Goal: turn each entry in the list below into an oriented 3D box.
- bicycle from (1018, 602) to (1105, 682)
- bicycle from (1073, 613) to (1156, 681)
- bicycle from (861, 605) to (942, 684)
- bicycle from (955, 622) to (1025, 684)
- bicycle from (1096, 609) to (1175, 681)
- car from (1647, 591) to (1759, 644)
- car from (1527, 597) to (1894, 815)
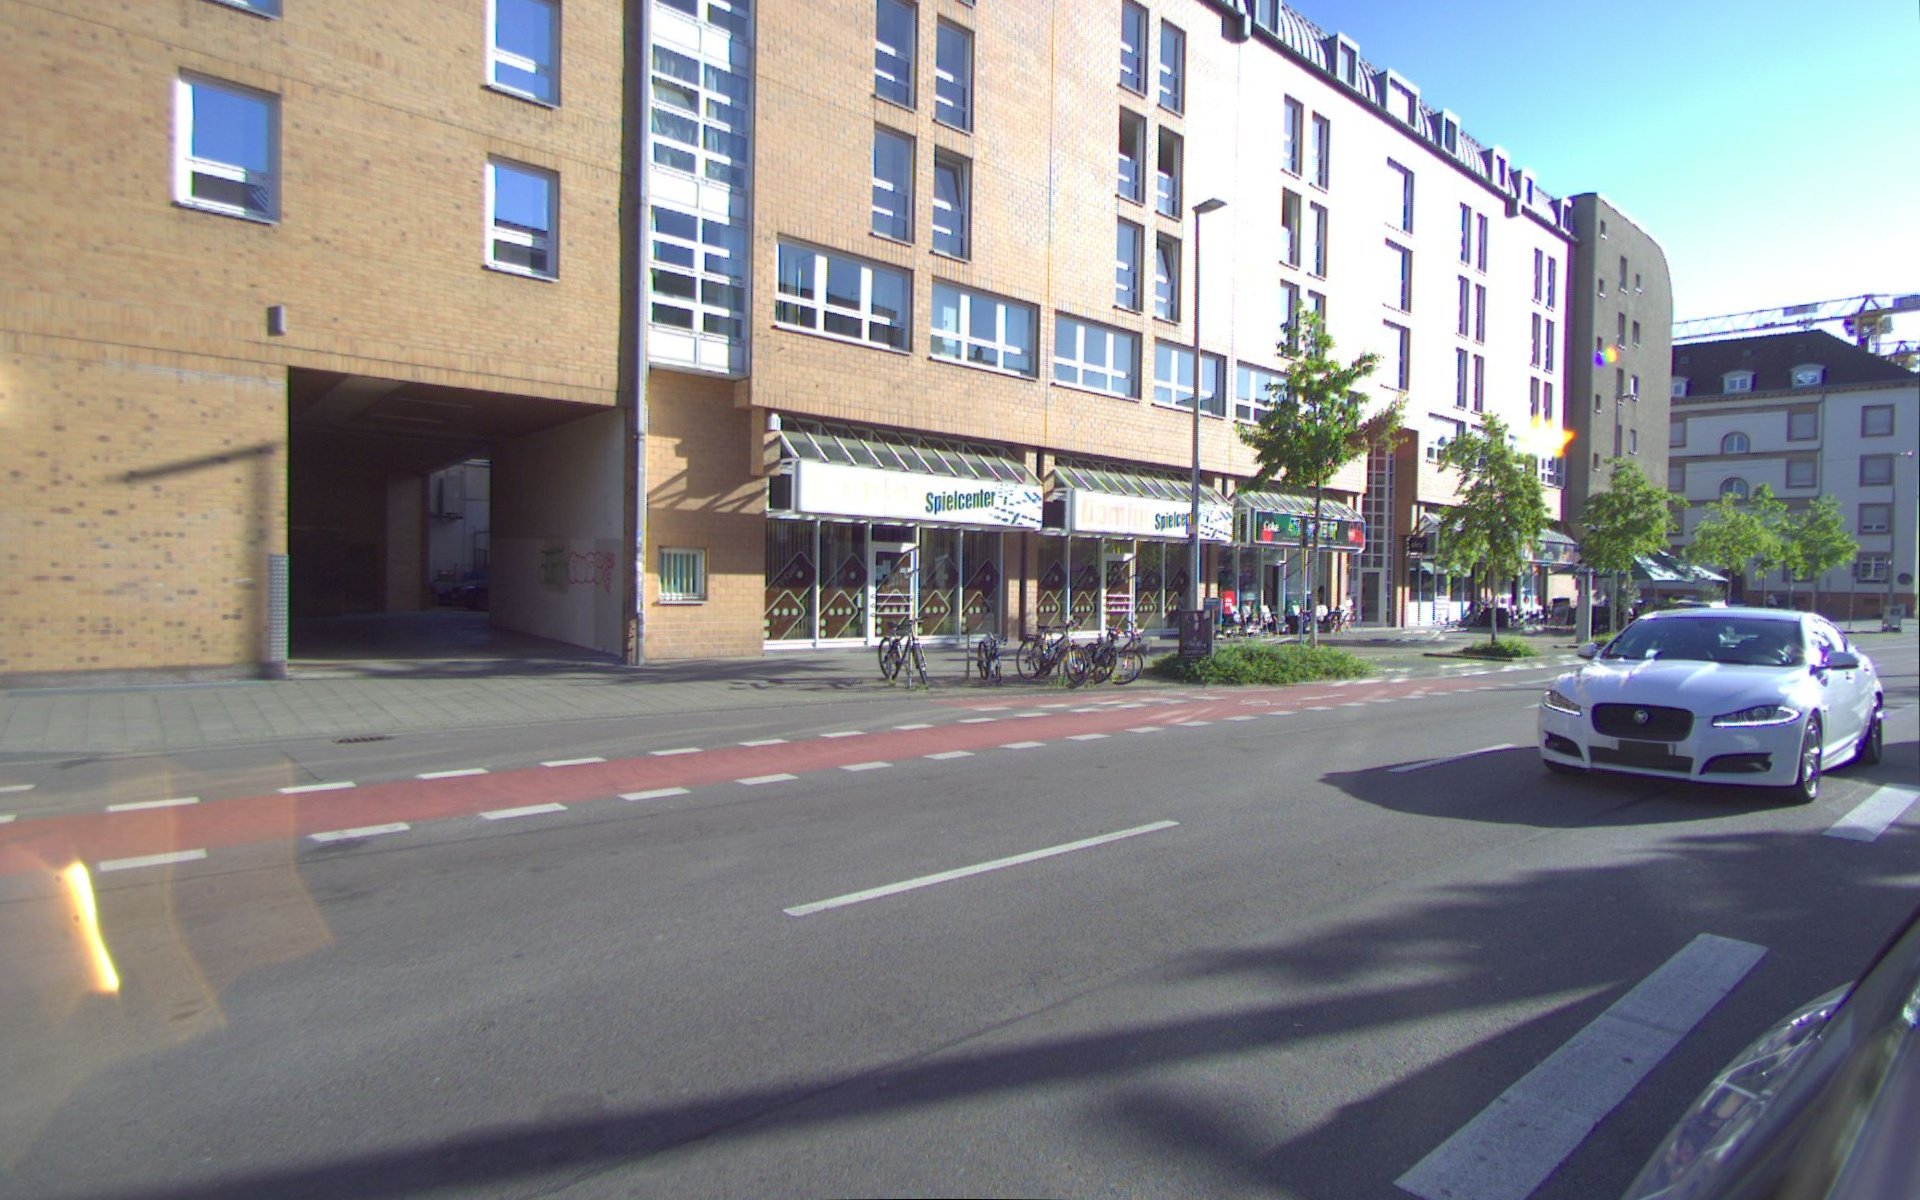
[{"bbox_3d":[1.695,0.674,17.192,0.553,1.177,1.843,0,3,-26],"label":"bicycle"},{"bbox_3d":[2.657,0.792,17.652,0.440,0.997,1.843,0,3,-26],"label":"bicycle"},{"bbox_3d":[-0.963,0.680,16.242,0.423,1.089,1.776,-1,4,-35],"label":"bicycle"},{"bbox_3d":[0.478,0.857,16.833,0.359,0.842,1.779,0,3,-26],"label":"bicycle"},{"bbox_3d":[3.067,0.762,17.857,0.343,1.069,1.843,0,3,-26],"label":"bicycle"},{"bbox_3d":[25.972,0.585,35.356,3.921,1.659,1.782,0,3,-33],"label":"car"},{"bbox_3d":[6.854,0.715,9.050,4.376,1.448,1.806,0,1,-42],"label":"car"}]
